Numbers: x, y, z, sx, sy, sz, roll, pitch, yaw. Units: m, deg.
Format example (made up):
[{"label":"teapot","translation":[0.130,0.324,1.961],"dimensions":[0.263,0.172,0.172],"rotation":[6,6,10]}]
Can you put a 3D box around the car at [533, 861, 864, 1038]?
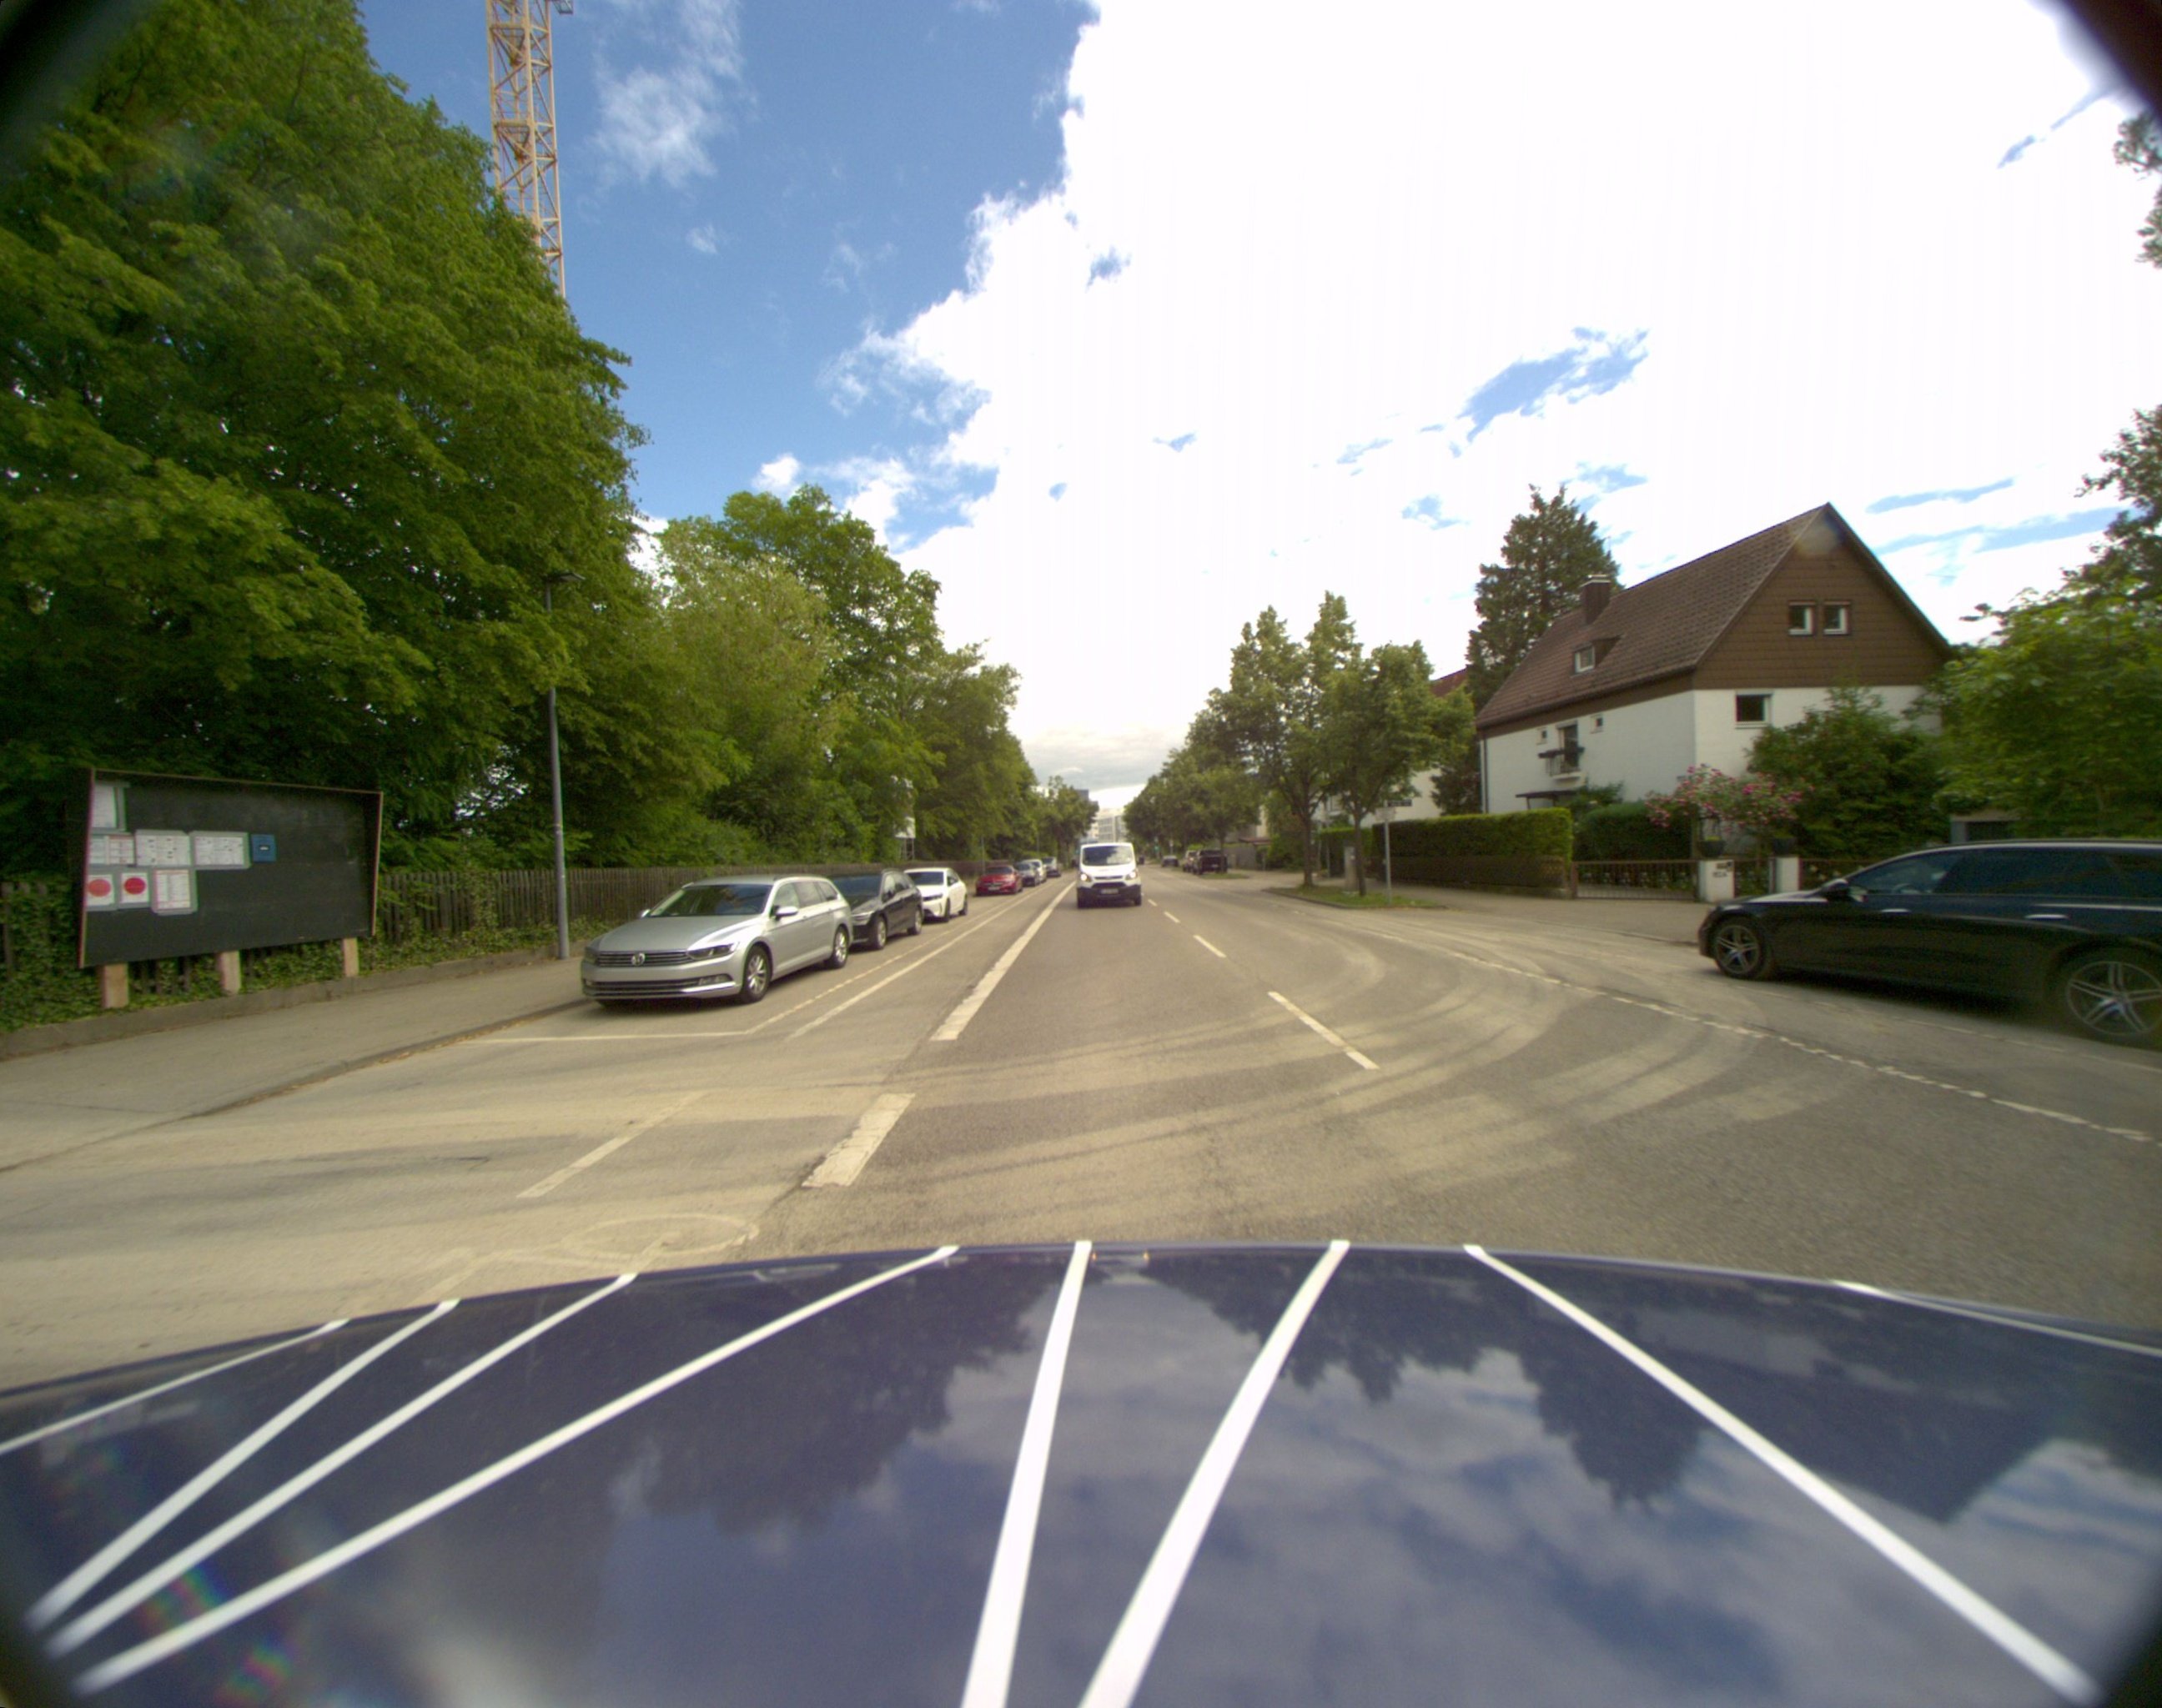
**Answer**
[{"label":"car","translation":[-4.578,0.999,10.110],"dimensions":[1.866,1.602,4.686],"rotation":[-3,1,1]}]

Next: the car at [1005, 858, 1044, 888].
[{"label":"car","translation":[-3.351,1.085,45.890],"dimensions":[1.820,1.506,4.679],"rotation":[-4,1,1]}]

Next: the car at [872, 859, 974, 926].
[{"label":"car","translation":[-4.251,0.982,21.057],"dimensions":[1.772,1.502,4.030],"rotation":[-2,1,2]}]

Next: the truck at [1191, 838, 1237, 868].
[{"label":"truck","translation":[9.762,-0.120,56.351],"dimensions":[2.429,2.031,5.995],"rotation":[-2,1,2]}]

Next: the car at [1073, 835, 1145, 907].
[{"label":"car","translation":[0.919,0.453,24.960],"dimensions":[1.998,2.002,5.188],"rotation":[-4,1,2]}]

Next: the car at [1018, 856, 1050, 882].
[{"label":"car","translation":[-3.156,0.982,51.987],"dimensions":[1.867,1.580,4.421],"rotation":[-3,1,0]}]

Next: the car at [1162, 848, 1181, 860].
[{"label":"car","translation":[10.977,-0.065,92.419],"dimensions":[1.750,1.400,4.927],"rotation":[-1,1,2]}]

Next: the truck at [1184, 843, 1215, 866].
[{"label":"truck","translation":[9.856,0.009,63.592],"dimensions":[1.971,1.857,5.665],"rotation":[0,1,2]}]

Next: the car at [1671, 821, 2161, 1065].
[{"label":"car","translation":[8.252,0.577,6.689],"dimensions":[2.101,1.637,5.037],"rotation":[-1,0,-2]}]

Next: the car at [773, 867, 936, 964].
[{"label":"car","translation":[-4.324,1.097,15.310],"dimensions":[1.706,1.501,4.538],"rotation":[-3,0,2]}]

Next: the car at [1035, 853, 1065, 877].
[{"label":"car","translation":[-2.563,0.891,63.576],"dimensions":[1.998,1.805,4.827],"rotation":[-3,1,2]}]

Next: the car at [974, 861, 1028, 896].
[{"label":"car","translation":[-3.781,1.141,36.533],"dimensions":[1.863,1.405,4.444],"rotation":[-4,0,2]}]
